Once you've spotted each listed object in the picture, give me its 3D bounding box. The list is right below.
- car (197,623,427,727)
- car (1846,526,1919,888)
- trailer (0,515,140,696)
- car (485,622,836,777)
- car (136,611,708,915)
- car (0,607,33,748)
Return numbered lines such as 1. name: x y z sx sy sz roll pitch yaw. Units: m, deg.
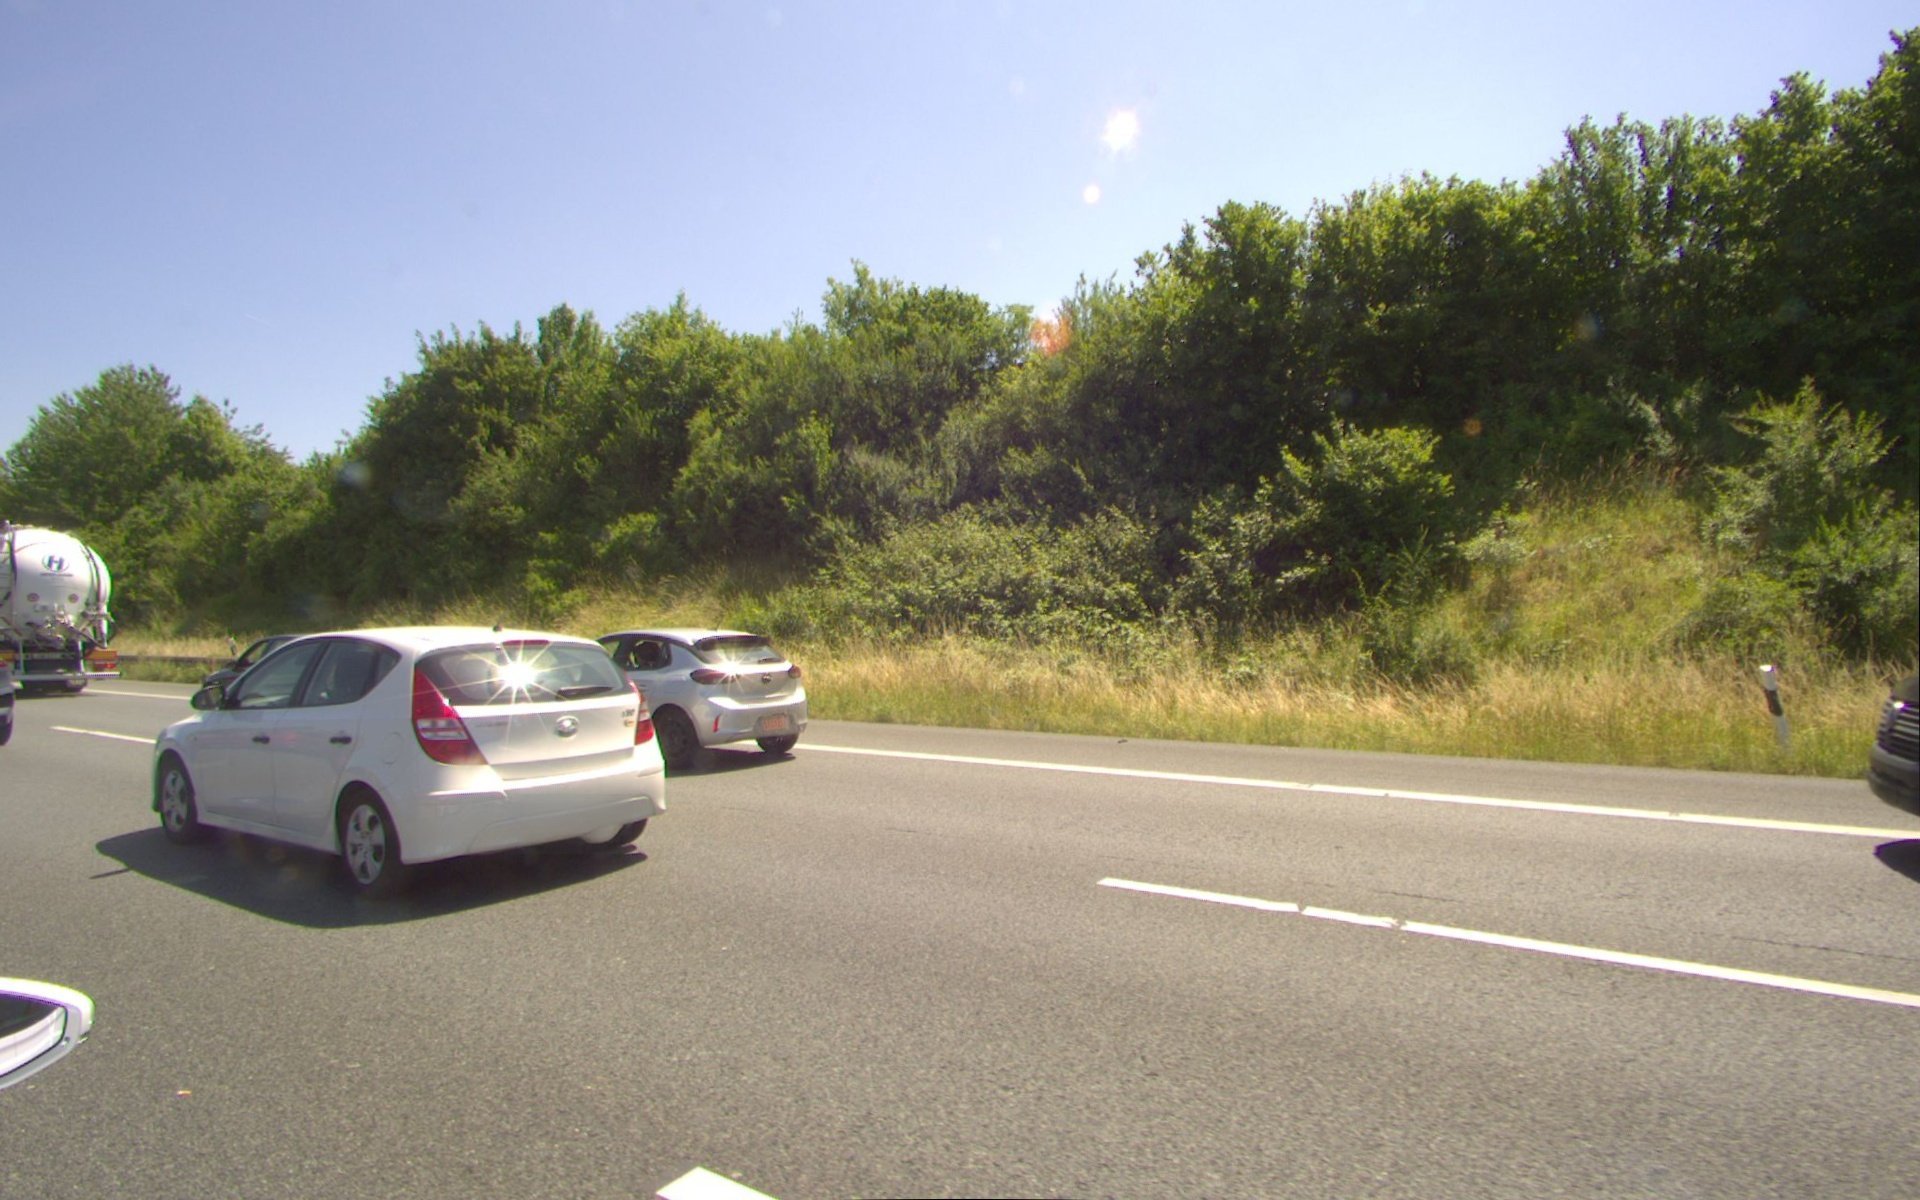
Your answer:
1. car: -10.415 1.142 16.020 3.934 1.435 1.637 -2 0 34
2. car: 7.653 0.527 4.828 4.789 1.965 1.909 -2 -1 34
3. trailer: -24.831 0.216 25.466 11.322 3.895 2.755 -1 -1 32
4. car: -3.516 1.012 11.568 3.971 1.462 1.727 0 0 33
5. car: -3.768 0.869 6.822 3.946 1.504 1.812 -2 -1 34
6. car: -14.061 1.009 12.966 4.562 1.737 1.995 -2 -1 34
